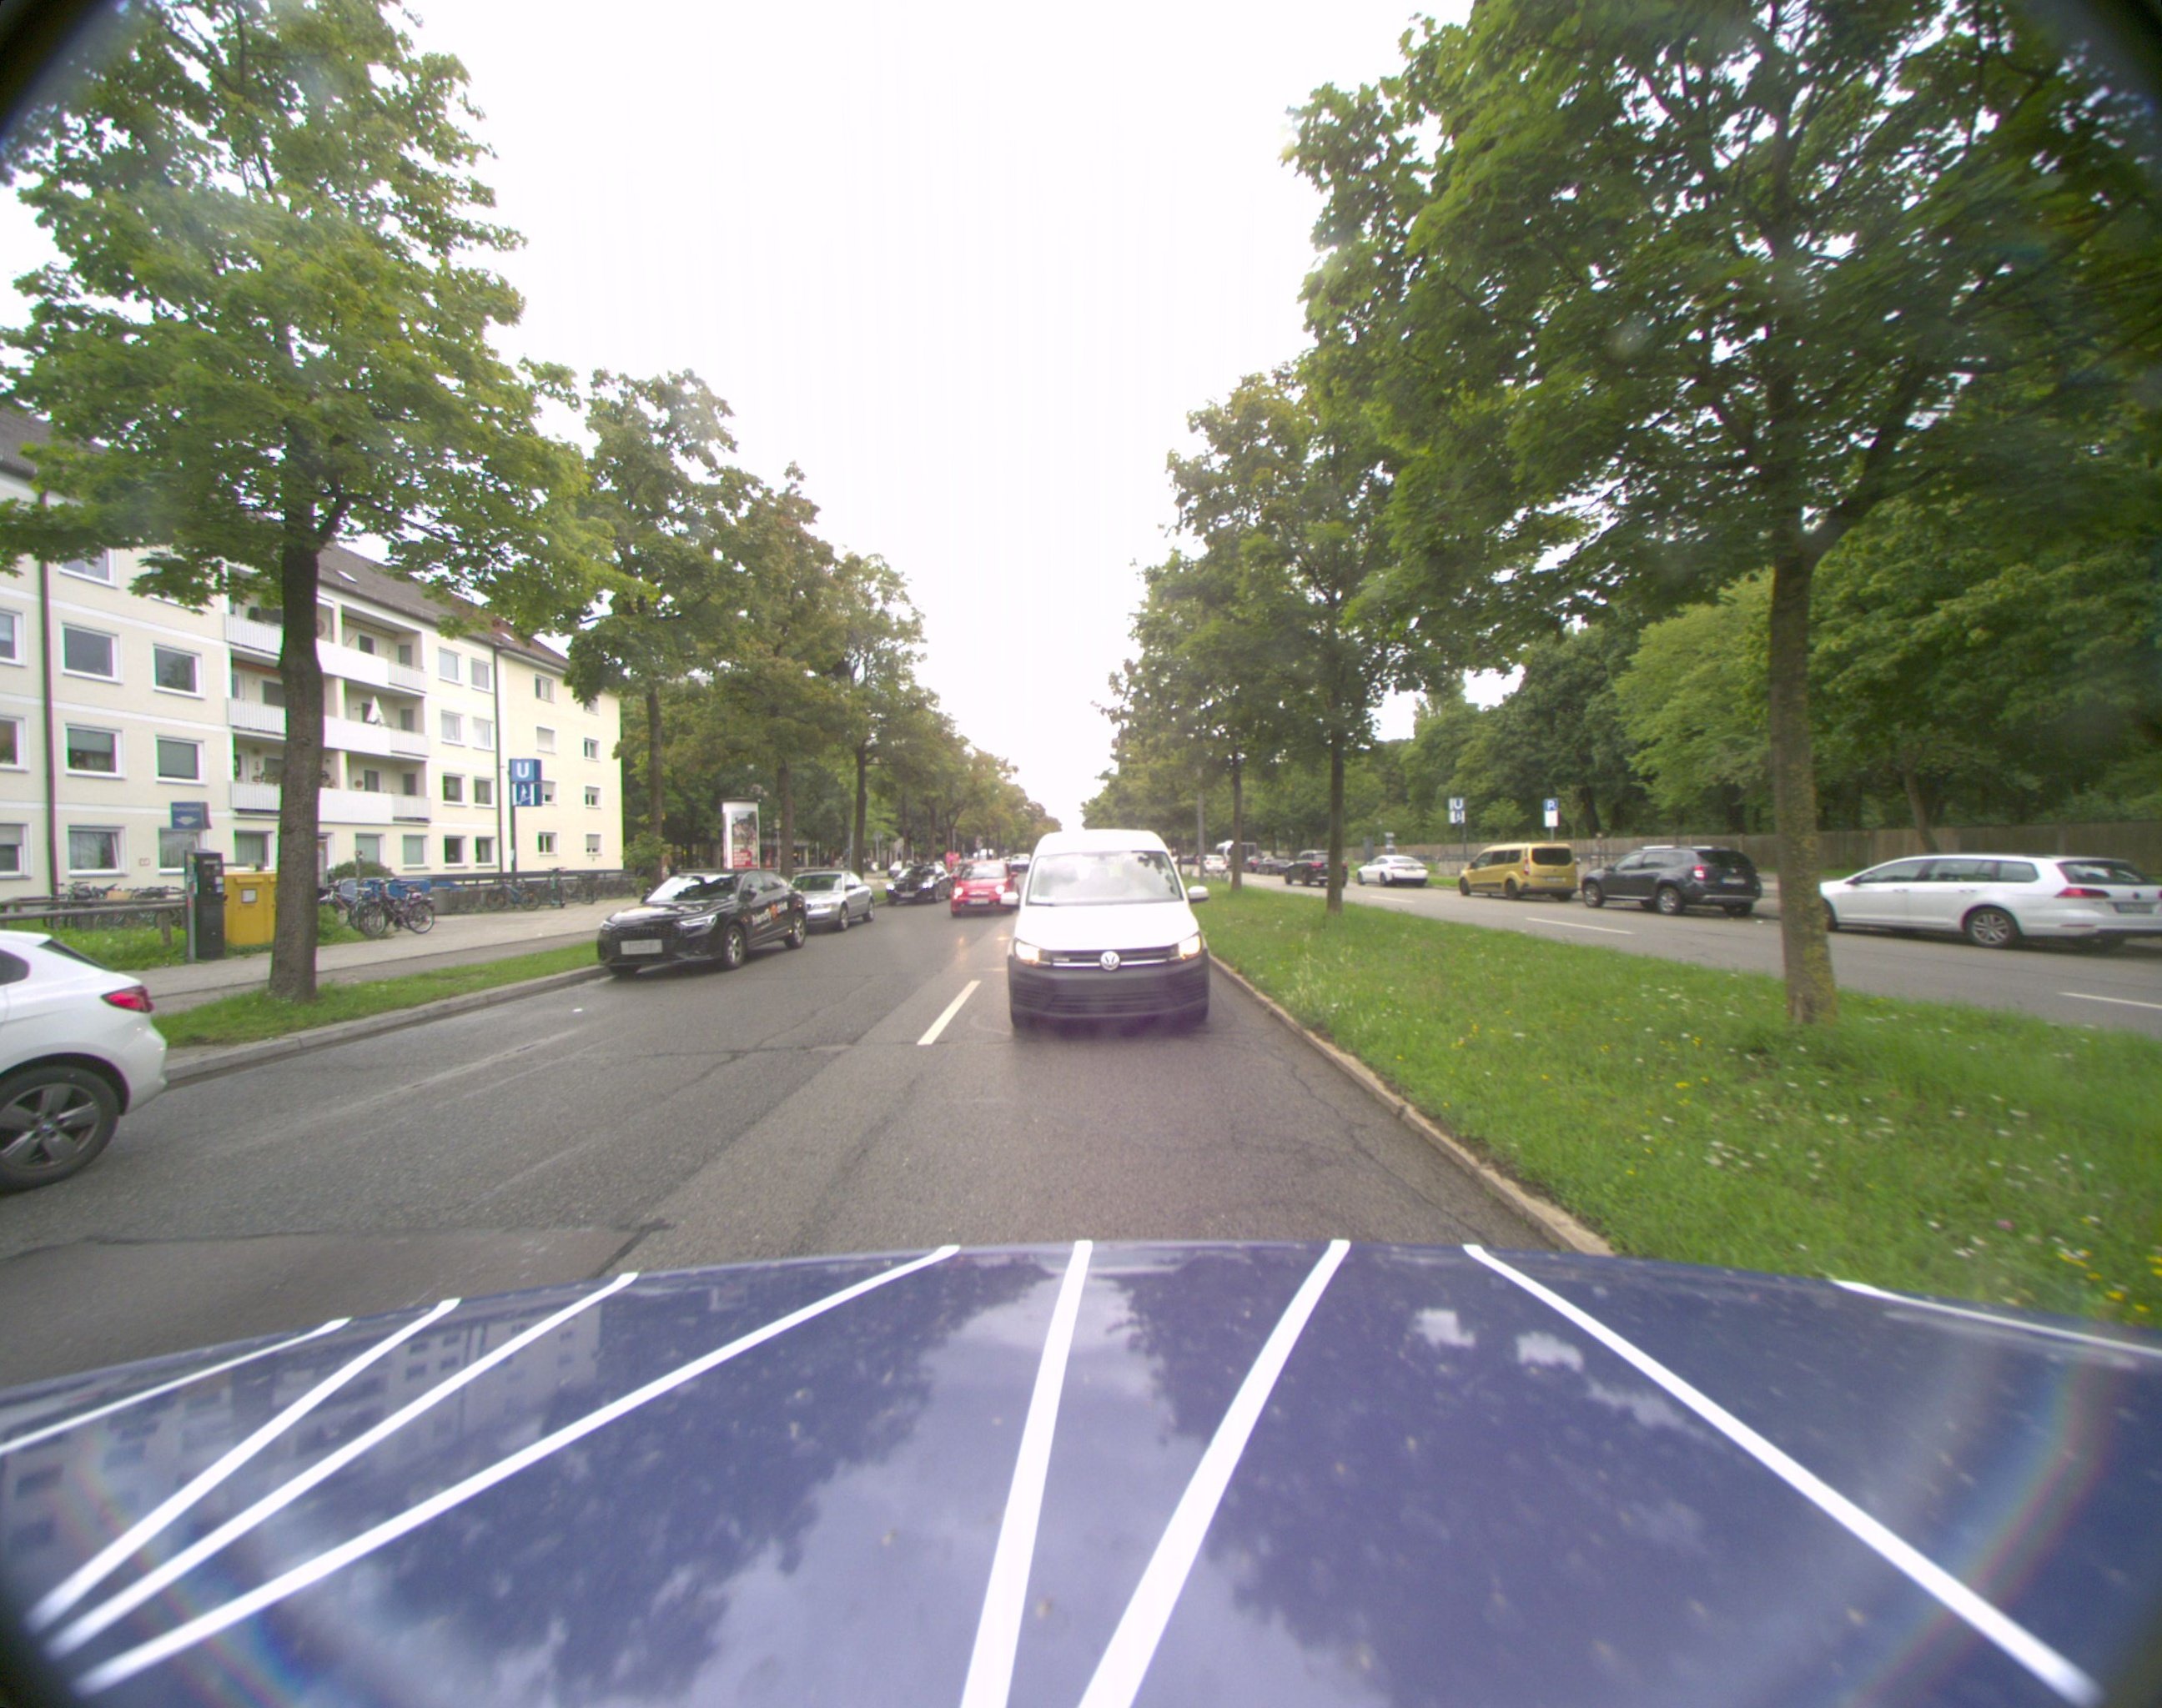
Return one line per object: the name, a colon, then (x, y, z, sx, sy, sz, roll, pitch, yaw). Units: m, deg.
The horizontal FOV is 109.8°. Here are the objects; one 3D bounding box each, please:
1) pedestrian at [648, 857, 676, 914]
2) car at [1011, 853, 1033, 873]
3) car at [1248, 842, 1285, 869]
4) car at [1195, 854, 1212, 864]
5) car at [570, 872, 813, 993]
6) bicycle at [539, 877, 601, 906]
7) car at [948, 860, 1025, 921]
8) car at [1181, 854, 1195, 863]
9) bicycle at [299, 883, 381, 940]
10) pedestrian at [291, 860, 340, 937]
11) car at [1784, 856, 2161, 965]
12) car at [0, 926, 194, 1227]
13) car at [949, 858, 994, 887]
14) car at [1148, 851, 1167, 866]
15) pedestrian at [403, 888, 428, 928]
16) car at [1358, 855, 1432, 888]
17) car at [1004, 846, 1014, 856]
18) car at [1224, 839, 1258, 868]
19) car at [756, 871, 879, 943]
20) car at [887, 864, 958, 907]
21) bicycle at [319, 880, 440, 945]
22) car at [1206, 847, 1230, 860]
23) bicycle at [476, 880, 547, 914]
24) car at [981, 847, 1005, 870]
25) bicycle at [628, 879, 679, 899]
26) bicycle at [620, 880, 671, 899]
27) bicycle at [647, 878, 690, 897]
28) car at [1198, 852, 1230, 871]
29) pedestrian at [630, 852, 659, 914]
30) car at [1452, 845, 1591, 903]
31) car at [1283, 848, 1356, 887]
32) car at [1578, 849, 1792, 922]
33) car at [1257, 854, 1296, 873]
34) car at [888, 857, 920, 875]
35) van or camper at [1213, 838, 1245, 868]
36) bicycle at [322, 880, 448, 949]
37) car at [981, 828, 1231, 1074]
pedestrian: (-11.967, 0.884, 21.702, 0.560, 1.595, 0.519, -2, 1, -19)
car: (-6.222, 0.918, 80.611, 1.827, 1.939, 4.300, -2, 0, 0)
car: (14.953, 0.106, 61.511, 1.999, 2.002, 3.999, -1, 0, 0)
car: (18.002, 0.748, 111.549, 1.717, 1.401, 4.040, 0, 0, -2)
car: (-6.103, 1.134, 12.566, 1.826, 1.502, 4.157, -2, 0, 0)
bicycle: (-16.519, 1.216, 24.574, 1.599, 0.910, 0.498, 0, 1, -4)
car: (-2.618, 0.959, 21.958, 1.723, 1.492, 4.299, -2, 0, -1)
car: (17.339, 0.650, 123.276, 1.717, 1.401, 4.040, 0, 0, -2)
bicycle: (-15.863, 1.217, 16.301, 0.466, 1.110, 1.253, -1, 1, 1)
pedestrian: (-17.190, 0.986, 17.066, 0.560, 1.664, 0.519, -2, 1, -19)
car: (14.632, 0.782, 12.632, 1.826, 1.461, 4.300, 0, 0, -2)
car: (-6.370, 1.215, 2.477, 1.826, 1.428, 4.287, -3, 0, 0)
car: (-6.108, 1.022, 42.835, 1.827, 1.460, 4.300, -2, 0, 0)
car: (9.149, 0.504, 91.004, 1.866, 1.649, 4.500, 1, 0, 0)
pedestrian: (-15.935, 1.296, 18.198, 0.338, 0.915, 0.395, -2, 1, -28)
car: (14.622, 0.767, 35.625, 1.717, 1.434, 4.040, 0, 0, -2)
car: (-16.949, -0.723, 179.291, 1.999, 2.440, 4.999, -2, 0, -1)
car: (14.566, -0.022, 69.311, 1.999, 2.576, 4.499, 0, 0, -2)
car: (-6.186, 1.184, 18.299, 1.617, 1.371, 3.926, -2, 0, -1)
car: (-5.933, 1.145, 28.905, 1.827, 1.371, 4.299, -2, 0, -1)
bicycle: (-14.642, 1.178, 15.954, 0.545, 1.182, 2.076, -1, 0, 1)
car: (14.252, -0.054, 79.272, 1.717, 1.401, 4.040, 0, 0, -2)
bicycle: (-16.645, 1.256, 22.225, 1.599, 0.910, 0.498, -2, 1, -4)
car: (-9.768, 0.477, 84.800, 1.998, 2.440, 4.999, -2, 1, 1)
bicycle: (-16.394, 1.324, 29.164, 1.599, 0.691, 0.498, -2, 1, -4)
bicycle: (-16.280, 1.324, 28.426, 1.599, 0.634, 0.498, 1, 0, -4)
bicycle: (-16.209, 1.303, 29.844, 1.392, 0.709, 0.498, 1, 1, -4)
car: (10.936, 0.582, 62.872, 1.866, 1.447, 4.500, 1, 0, 0)
pedestrian: (-12.539, 0.829, 21.846, 0.560, 1.745, 0.656, -2, 1, -19)
car: (14.359, 0.594, 25.118, 1.862, 1.761, 4.533, 0, 0, -2)
car: (10.865, 0.572, 34.958, 1.866, 1.659, 4.500, 1, 0, 0)
car: (14.745, 0.685, 18.891, 2.007, 1.607, 4.040, 0, 0, -2)
car: (14.444, 0.674, 56.358, 1.717, 1.401, 4.040, 0, 0, -2)
car: (-16.205, 1.083, 69.630, 1.827, 1.460, 4.300, -2, 0, 0)
van or camper: (14.402, -0.130, 74.098, 1.999, 2.791, 4.931, 0, 0, -2)
bicycle: (-13.738, 1.153, 15.093, 0.545, 1.182, 2.076, -1, 0, 1)
car: (0.189, 0.717, 7.948, 1.772, 1.742, 4.545, -3, 0, 0)
